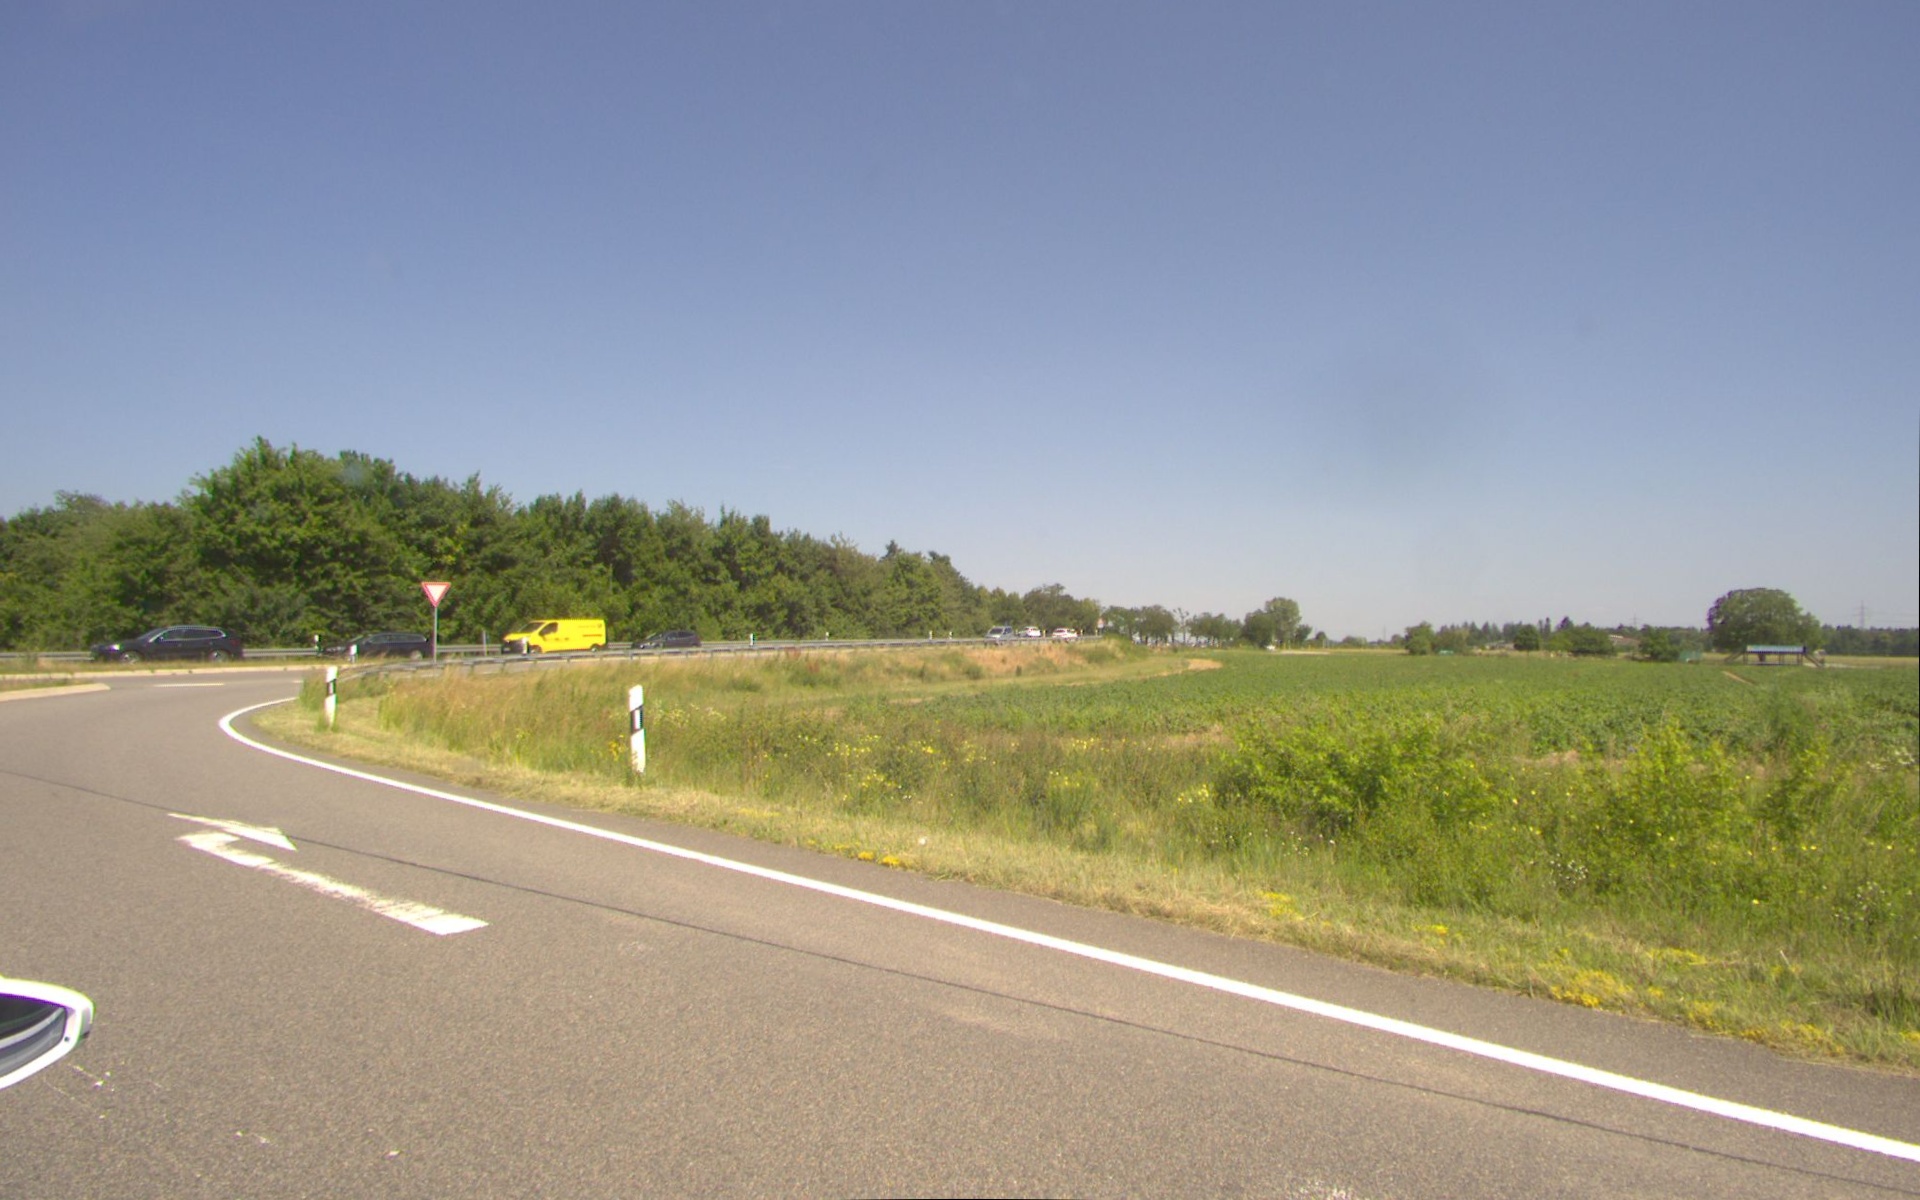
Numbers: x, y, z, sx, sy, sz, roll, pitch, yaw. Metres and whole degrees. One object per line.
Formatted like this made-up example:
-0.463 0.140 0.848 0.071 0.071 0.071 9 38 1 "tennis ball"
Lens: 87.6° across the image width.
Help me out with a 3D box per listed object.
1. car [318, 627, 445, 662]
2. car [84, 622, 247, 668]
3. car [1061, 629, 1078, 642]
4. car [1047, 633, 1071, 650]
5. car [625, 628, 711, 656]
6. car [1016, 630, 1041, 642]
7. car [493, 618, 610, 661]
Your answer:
-26.076 1.982 45.253 1.831 1.533 4.664 -2 -2 39 "car"
-29.542 1.645 37.379 1.744 1.618 4.475 -1 -2 34 "car"
13.019 4.218 119.203 1.705 1.587 3.695 0 -2 3 "car"
10.006 4.156 101.089 1.707 1.587 4.478 -1 0 15 "car"
-16.612 2.353 57.150 1.828 1.533 4.671 -1 -2 34 "car"
9.211 4.907 135.421 1.709 1.587 4.475 0 -2 -19 "car"
-20.594 1.983 50.676 1.973 2.039 5.310 -1 -2 34 "car"
